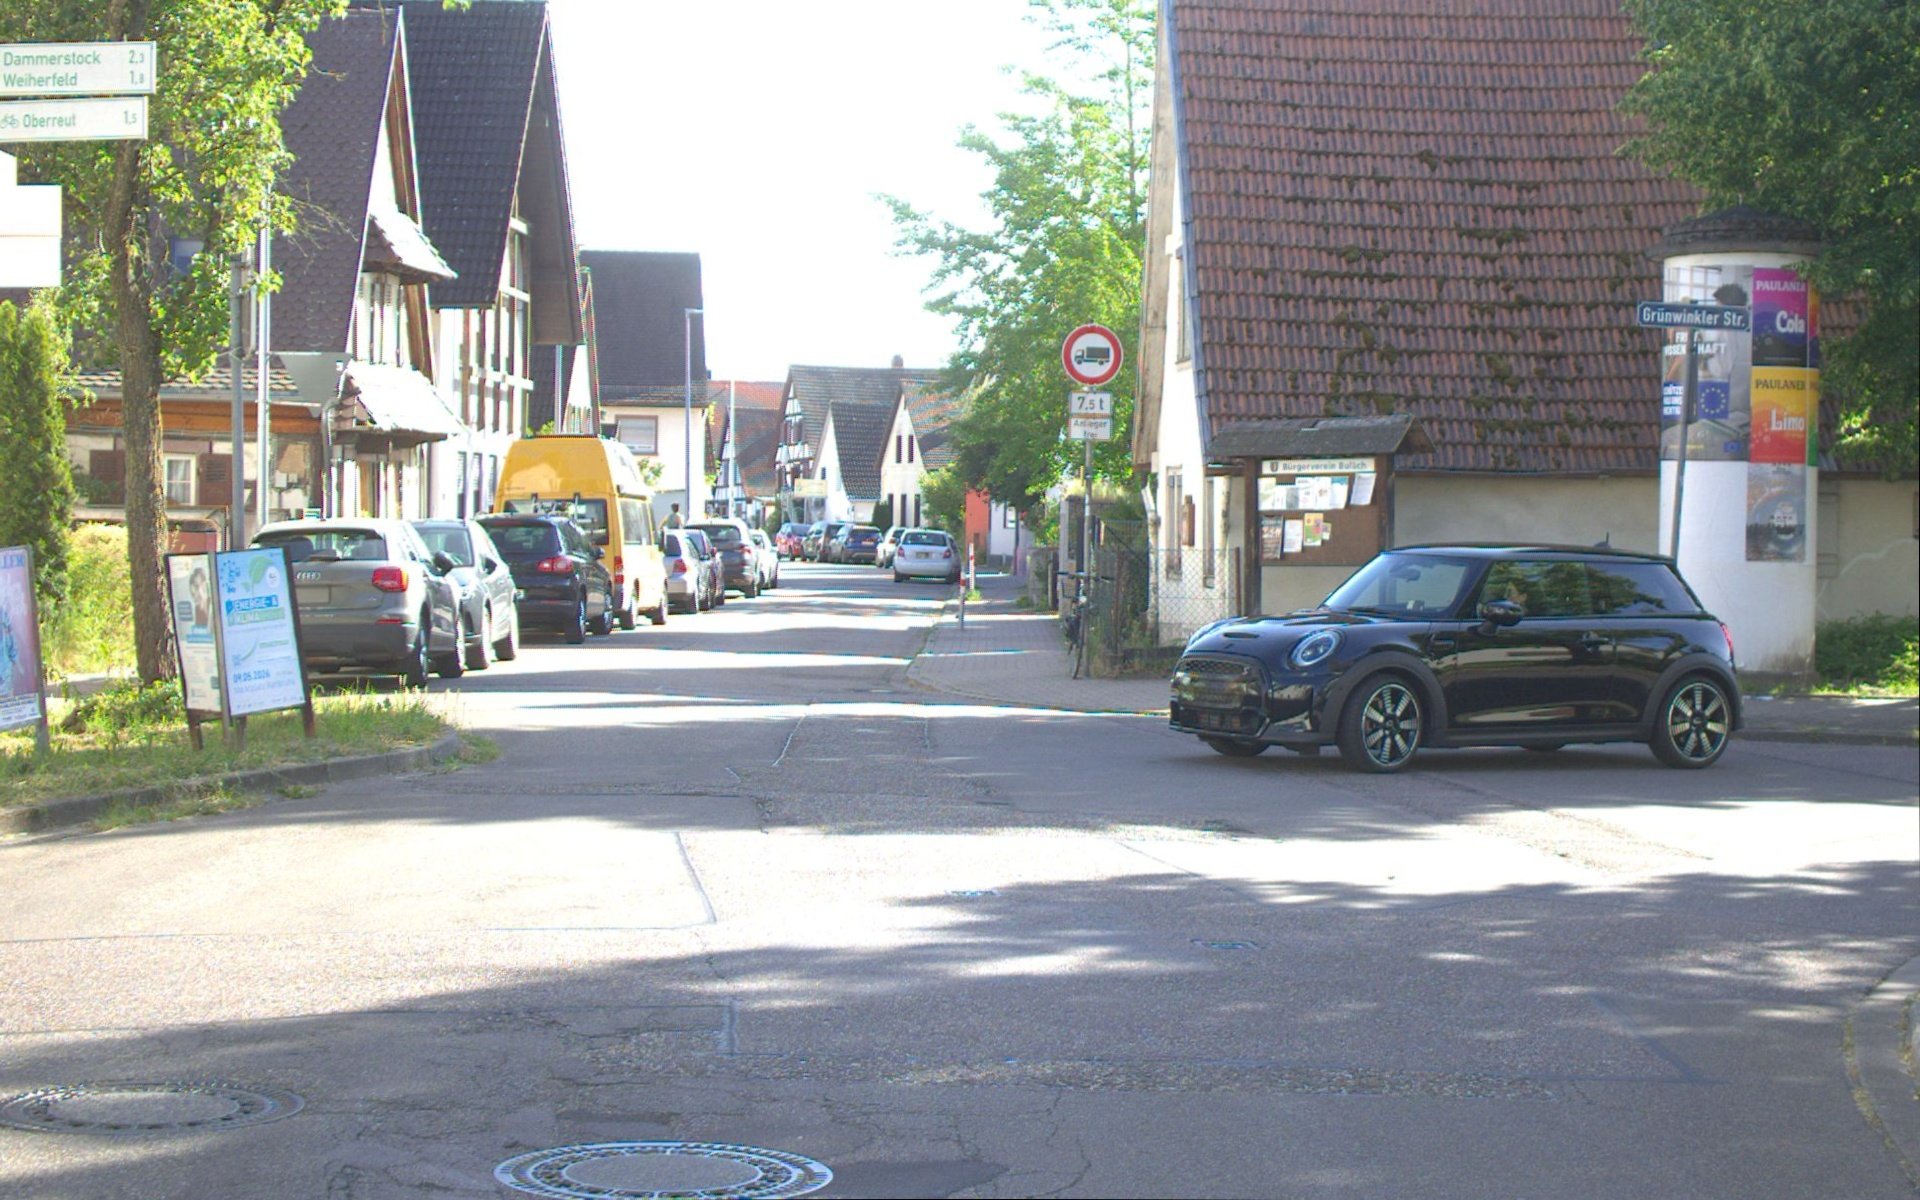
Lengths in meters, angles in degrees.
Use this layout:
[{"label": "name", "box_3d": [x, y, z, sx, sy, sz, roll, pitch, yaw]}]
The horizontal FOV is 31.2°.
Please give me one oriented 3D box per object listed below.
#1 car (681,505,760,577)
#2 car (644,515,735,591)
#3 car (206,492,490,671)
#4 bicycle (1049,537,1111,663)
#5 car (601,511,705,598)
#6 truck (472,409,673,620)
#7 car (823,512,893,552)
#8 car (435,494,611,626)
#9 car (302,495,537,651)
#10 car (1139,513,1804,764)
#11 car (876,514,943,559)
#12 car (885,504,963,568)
[{"label": "car", "box_3d": [-5.027, -1.259, 72.421, 1.588, 1.438, 3.615, 1, 1, -3]}, {"label": "car", "box_3d": [-5.001, -0.892, 63.866, 1.588, 1.331, 3.615, 1, 1, -3]}, {"label": "car", "box_3d": [-5.484, -0.193, 31.286, 1.867, 1.500, 4.108, 1, 1, 0]}, {"label": "bicycle", "box_3d": [1.176, -0.021, 33.389, 0.433, 1.172, 1.828, 1, 1, 7]}, {"label": "car", "box_3d": [-5.259, -0.805, 59.222, 1.645, 1.428, 3.615, 1, 1, -3]}, {"label": "truck", "box_3d": [-5.547, -1.216, 49.939, 2.268, 2.858, 5.783, 1, 1, 0]}, {"label": "car", "box_3d": [-4.170, -2.770, 139.731, 1.972, 1.577, 3.996, 1, 1, -15]}, {"label": "car", "box_3d": [-5.622, -0.527, 44.610, 1.806, 1.616, 3.881, 1, 1, 0]}, {"label": "car", "box_3d": [-5.535, -0.301, 35.677, 1.806, 1.500, 4.108, 1, 1, 0]}, {"label": "car", "box_3d": [3.313, 0.225, 22.151, 3.986, 1.472, 1.666, 0, 2, -28]}, {"label": "car", "box_3d": [-1.889, -2.362, 127.322, 1.973, 1.577, 3.996, 1, 1, -8]}, {"label": "car", "box_3d": [-1.043, -1.818, 97.090, 1.973, 1.708, 3.995, 1, 1, -3]}]
